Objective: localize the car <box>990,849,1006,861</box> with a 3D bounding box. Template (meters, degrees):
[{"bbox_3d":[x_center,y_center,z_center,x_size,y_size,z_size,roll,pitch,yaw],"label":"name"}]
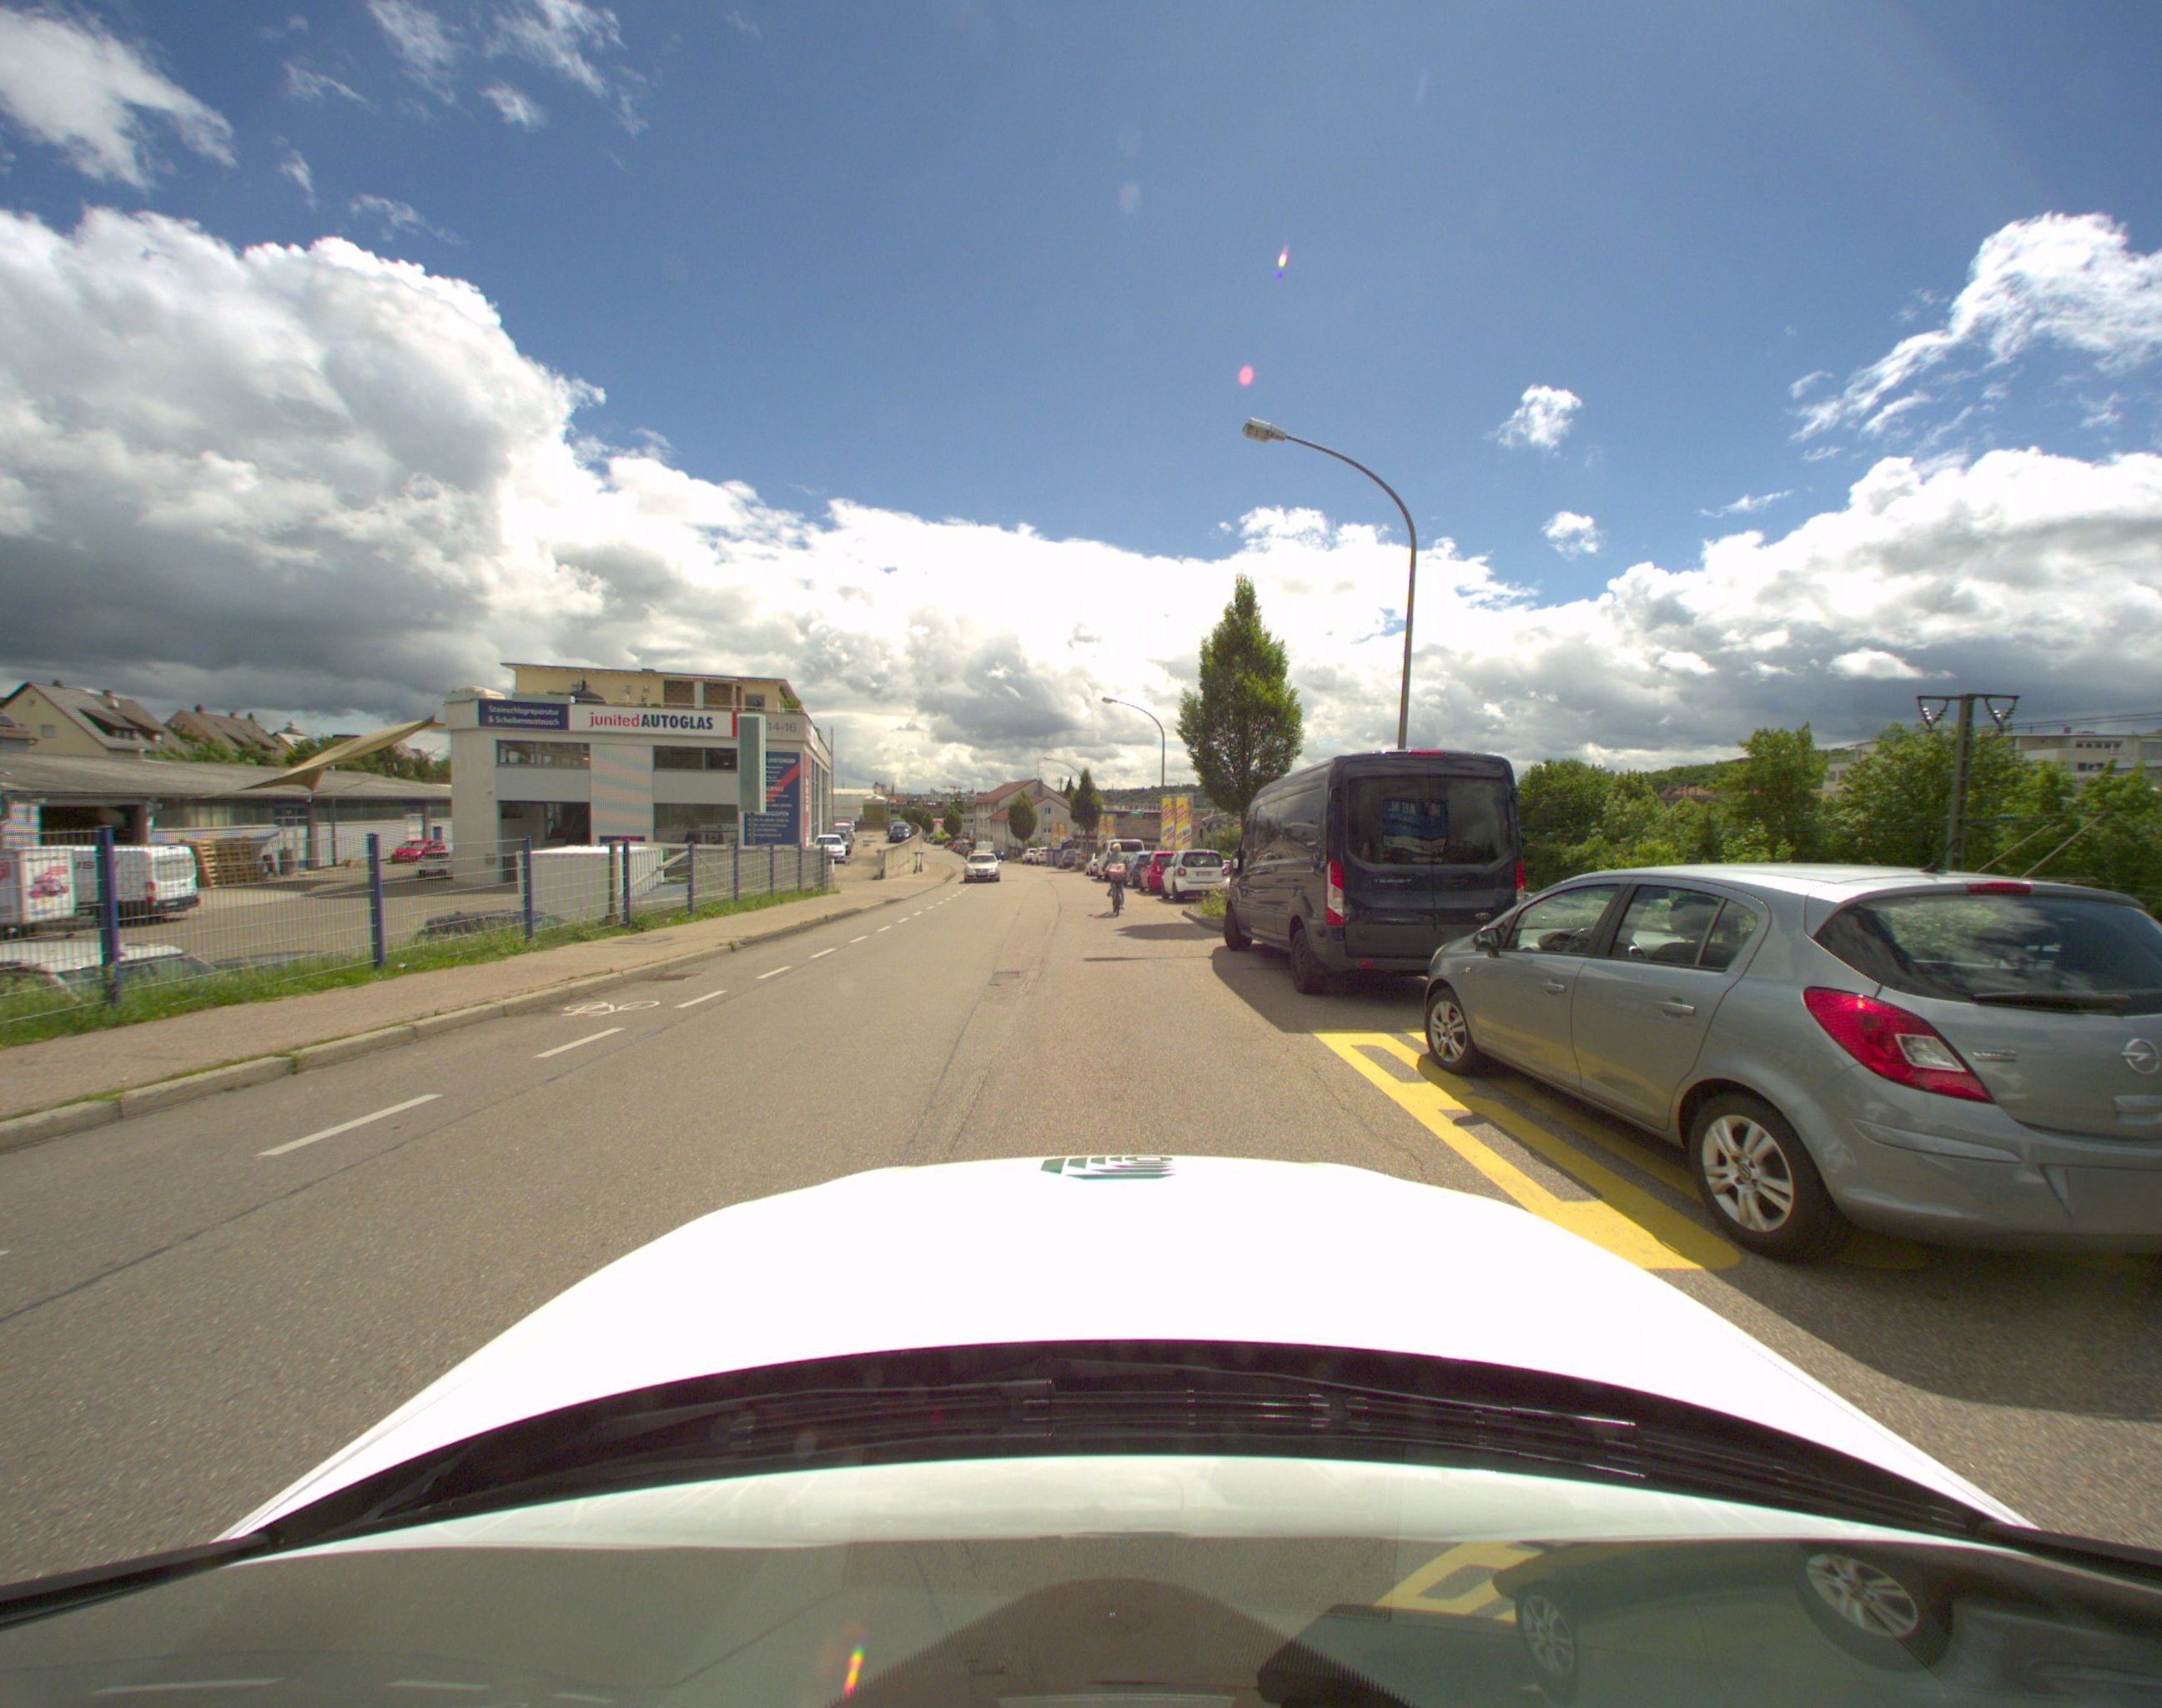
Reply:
[{"bbox_3d":[-11.064,0.133,108.520,1.992,1.464,3.990,-1,0,-8],"label":"car"}]

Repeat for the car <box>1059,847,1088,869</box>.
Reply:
[{"bbox_3d":[-0.621,0.290,62.654,1.990,1.618,3.994,-1,0,-4],"label":"car"}]

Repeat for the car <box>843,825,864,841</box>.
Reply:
[{"bbox_3d":[-20.473,-1.893,73.494,1.672,1.323,3.701,-1,0,-14],"label":"car"}]

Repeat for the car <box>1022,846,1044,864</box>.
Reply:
[{"bbox_3d":[-4.896,0.065,82.549,1.841,1.706,3.989,-1,0,-8],"label":"car"}]

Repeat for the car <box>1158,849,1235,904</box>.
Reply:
[{"bbox_3d":[3.403,0.628,24.458,1.789,1.506,2.903,-1,0,-3],"label":"car"}]

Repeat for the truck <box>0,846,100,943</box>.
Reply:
[{"bbox_3d":[-32.947,1.199,23.456,5.788,2.706,2.168,-1,0,-13],"label":"truck"}]

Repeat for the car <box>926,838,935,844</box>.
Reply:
[{"bbox_3d":[-38.158,-3.172,206.731,1.996,1.420,3.982,-1,0,-13],"label":"car"}]

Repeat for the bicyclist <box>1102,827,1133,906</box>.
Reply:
[{"bbox_3d":[0.861,0.282,19.464,0.682,1.825,1.080,-1,0,0],"label":"bicyclist"}]

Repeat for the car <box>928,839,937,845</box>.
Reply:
[{"bbox_3d":[-35.928,-2.977,197.161,1.996,1.420,3.982,-1,0,-13],"label":"car"}]

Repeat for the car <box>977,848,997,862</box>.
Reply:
[{"bbox_3d":[-11.564,0.155,100.263,1.995,1.618,3.983,-1,0,-12],"label":"car"}]

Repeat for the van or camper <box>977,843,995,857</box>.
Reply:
[{"bbox_3d":[-13.709,-0.605,117.690,1.996,2.013,3.982,2,0,-14],"label":"van or camper"}]

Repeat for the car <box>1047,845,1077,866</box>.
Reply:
[{"bbox_3d":[-1.721,0.097,71.522,2.133,1.706,3.989,-1,0,-8],"label":"car"}]

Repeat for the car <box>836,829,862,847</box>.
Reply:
[{"bbox_3d":[-17.613,-1.192,61.915,1.672,1.323,3.701,-1,0,-14],"label":"car"}]

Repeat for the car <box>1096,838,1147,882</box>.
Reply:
[{"bbox_3d":[1.933,0.260,40.101,1.989,2.013,4.913,1,0,-3],"label":"car"}]

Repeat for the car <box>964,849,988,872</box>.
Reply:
[{"bbox_3d":[-7.715,0.449,60.035,1.707,1.574,3.990,-1,0,-7],"label":"car"}]

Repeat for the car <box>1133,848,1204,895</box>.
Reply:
[{"bbox_3d":[3.026,0.561,28.928,1.871,1.508,3.996,-1,0,-3],"label":"car"}]

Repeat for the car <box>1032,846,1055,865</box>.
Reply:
[{"bbox_3d":[-3.561,0.141,76.850,1.812,1.706,3.989,-1,0,-8],"label":"car"}]

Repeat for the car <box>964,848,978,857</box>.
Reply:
[{"bbox_3d":[-18.070,-0.296,133.834,1.995,1.464,3.984,-1,0,-12],"label":"car"}]

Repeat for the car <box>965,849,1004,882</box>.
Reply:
[{"bbox_3d":[-4.828,0.557,41.238,1.699,1.562,4.321,-1,0,-4],"label":"car"}]

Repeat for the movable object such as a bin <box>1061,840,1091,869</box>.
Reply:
[{"bbox_3d":[-0.438,0.036,67.327,2.133,2.302,2.551,-1,0,-8],"label":"movable object such as a bin"}]

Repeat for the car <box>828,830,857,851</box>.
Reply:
[{"bbox_3d":[-16.383,-0.895,56.060,1.723,1.323,3.701,-1,0,-14],"label":"car"}]

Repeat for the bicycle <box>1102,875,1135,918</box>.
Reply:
[{"bbox_3d":[0.882,0.990,19.501,0.685,0.878,2.102,-1,0,0],"label":"bicycle"}]

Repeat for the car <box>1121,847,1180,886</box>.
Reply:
[{"bbox_3d":[2.782,0.469,33.312,1.899,1.442,3.539,-1,0,-4],"label":"car"}]

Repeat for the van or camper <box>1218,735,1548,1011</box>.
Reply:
[{"bbox_3d":[3.340,0.161,10.606,2.118,2.585,5.916,0,0,0],"label":"van or camper"}]

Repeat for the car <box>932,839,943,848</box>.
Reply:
[{"bbox_3d":[-34.098,-2.528,193.162,1.998,2.013,3.978,2,0,-16],"label":"car"}]

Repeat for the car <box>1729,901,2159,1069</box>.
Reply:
[{"bbox_3d":[10.830,1.529,10.678,1.700,1.510,3.696,2,1,0],"label":"car"}]

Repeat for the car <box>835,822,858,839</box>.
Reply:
[{"bbox_3d":[-19.637,-1.985,68.411,1.672,1.323,3.701,-1,0,-14],"label":"car"}]

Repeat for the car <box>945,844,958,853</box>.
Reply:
[{"bbox_3d":[-24.081,-1.012,151.327,1.995,1.464,3.984,-1,0,-12],"label":"car"}]

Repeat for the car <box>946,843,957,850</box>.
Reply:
[{"bbox_3d":[-26.697,-1.523,167.410,1.996,1.420,3.982,-1,0,-13],"label":"car"}]

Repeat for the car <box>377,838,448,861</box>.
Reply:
[{"bbox_3d":[-41.764,-0.283,51.010,1.998,1.354,3.979,0,0,-16],"label":"car"}]

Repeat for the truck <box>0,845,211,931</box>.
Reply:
[{"bbox_3d":[-32.744,1.073,26.449,5.788,2.574,2.197,-1,0,-13],"label":"truck"}]

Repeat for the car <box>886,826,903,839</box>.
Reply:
[{"bbox_3d":[-19.479,-2.259,84.998,1.672,1.323,3.701,-1,2,-14],"label":"car"}]

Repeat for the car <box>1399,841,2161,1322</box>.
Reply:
[{"bbox_3d":[3.327,0.710,4.446,1.700,1.510,3.696,2,1,0],"label":"car"}]

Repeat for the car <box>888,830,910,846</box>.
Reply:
[{"bbox_3d":[-15.028,-1.336,67.434,1.671,1.323,3.704,0,2,-11],"label":"car"}]

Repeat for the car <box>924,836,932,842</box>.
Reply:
[{"bbox_3d":[-41.142,-3.944,219.231,1.996,1.420,3.982,-1,0,-13],"label":"car"}]

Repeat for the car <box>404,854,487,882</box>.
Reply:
[{"bbox_3d":[-32.739,0.671,42.094,1.998,1.354,3.979,0,0,-16],"label":"car"}]

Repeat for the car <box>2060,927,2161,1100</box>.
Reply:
[{"bbox_3d":[10.762,1.547,5.977,1.700,1.510,4.529,2,1,0],"label":"car"}]

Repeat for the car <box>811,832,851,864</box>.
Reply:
[{"bbox_3d":[-13.745,-0.321,45.001,1.850,1.650,3.981,-1,0,-14],"label":"car"}]

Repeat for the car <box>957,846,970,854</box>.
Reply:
[{"bbox_3d":[-20.997,-0.736,145.137,1.995,1.464,3.984,-1,0,-12],"label":"car"}]

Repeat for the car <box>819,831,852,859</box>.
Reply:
[{"bbox_3d":[-14.997,-0.554,49.883,1.698,1.629,3.701,-1,0,-14],"label":"car"}]

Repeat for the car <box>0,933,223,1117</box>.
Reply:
[{"bbox_3d":[-14.501,2.208,10.781,3.978,2.013,1.998,-1,0,-3],"label":"car"}]
